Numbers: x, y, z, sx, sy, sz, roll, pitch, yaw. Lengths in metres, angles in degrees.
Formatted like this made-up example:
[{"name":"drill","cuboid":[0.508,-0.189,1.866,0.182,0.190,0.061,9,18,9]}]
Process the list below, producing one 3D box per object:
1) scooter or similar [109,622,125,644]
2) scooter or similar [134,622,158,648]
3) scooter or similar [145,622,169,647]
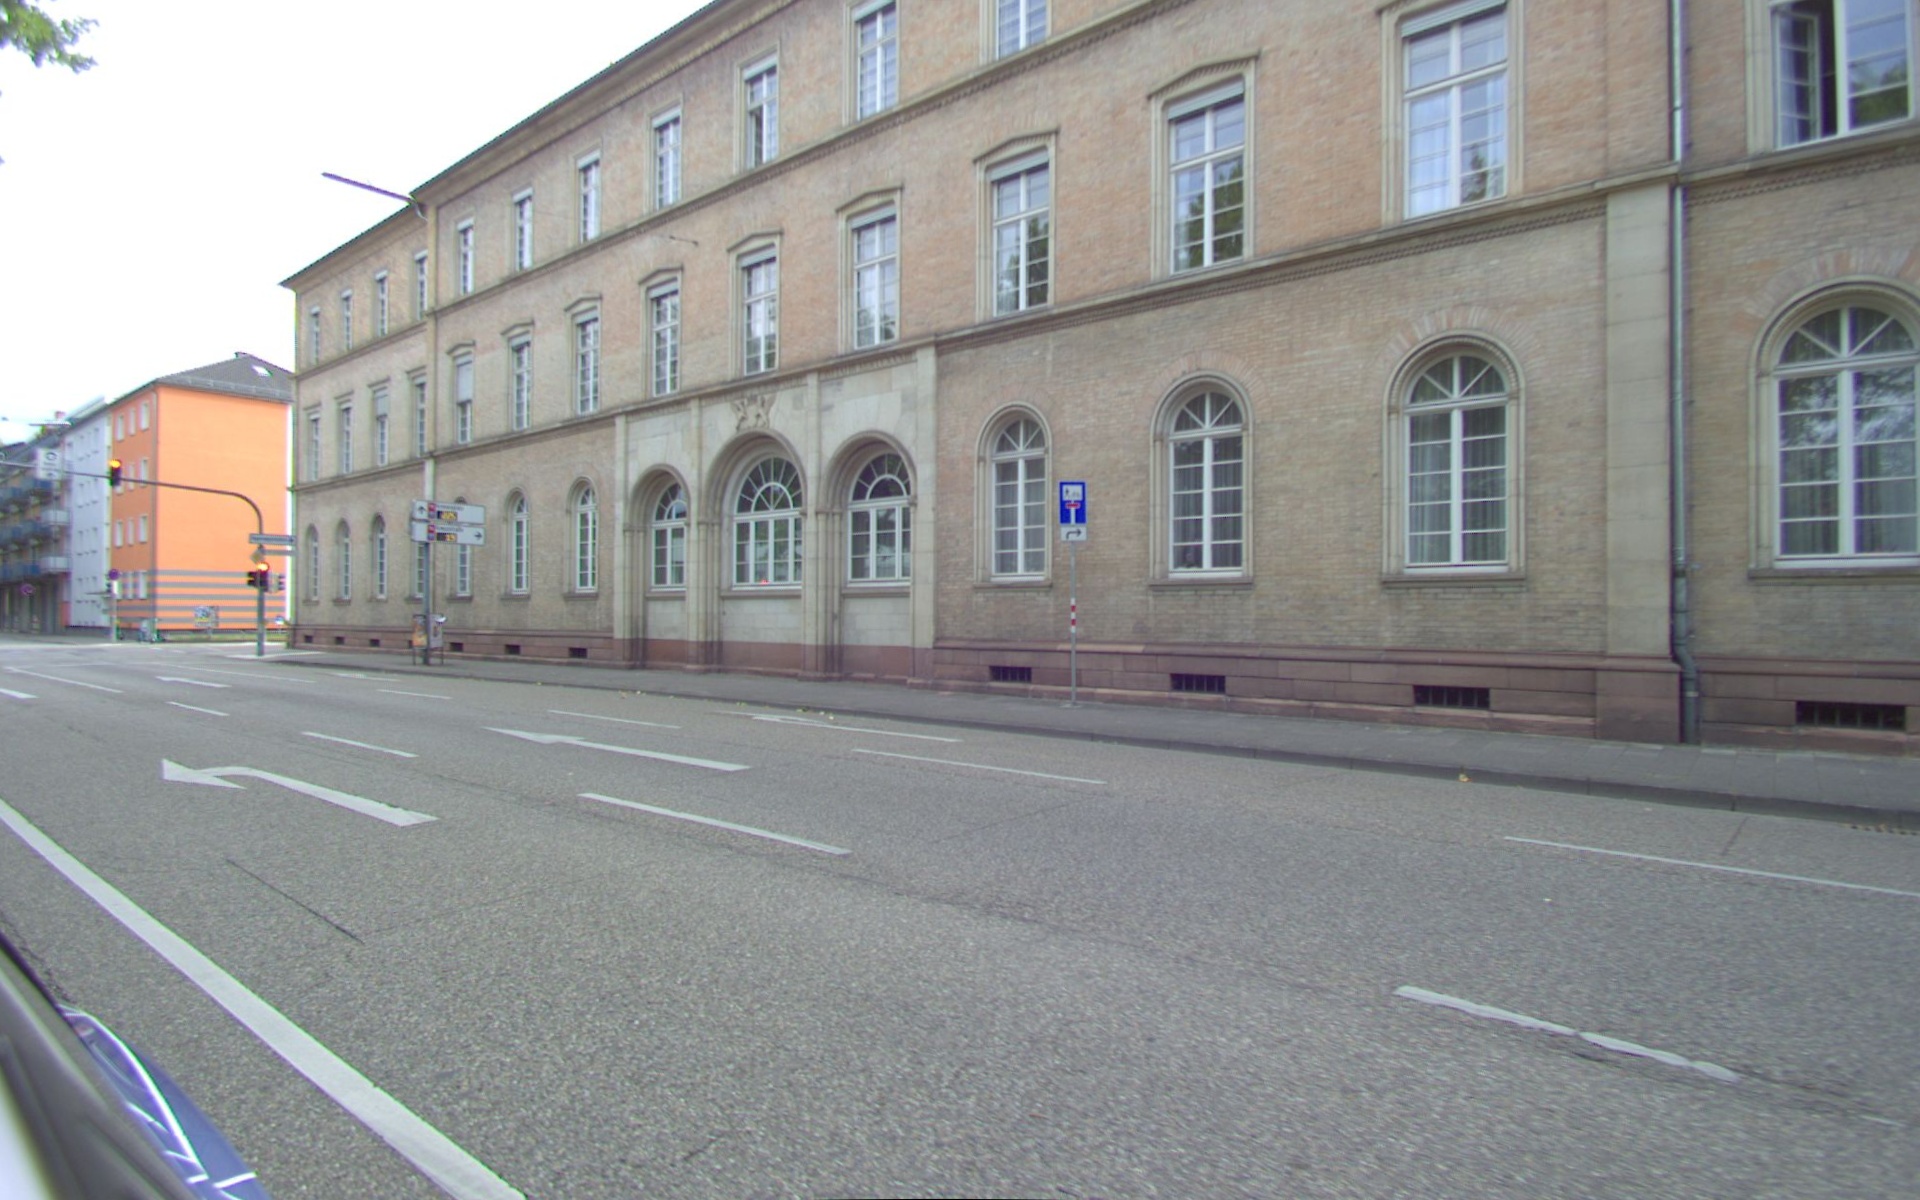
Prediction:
[{"name":"scooter or similar","cuboid":[-42.665,1.669,51.225,1.353,1.133,0.365,-1,0,40]},{"name":"scooter or similar","cuboid":[-37.546,1.629,46.692,1.336,1.188,0.327,-1,0,27]},{"name":"scooter or similar","cuboid":[-37.452,1.615,47.222,1.347,1.166,0.327,-1,0,27]}]
